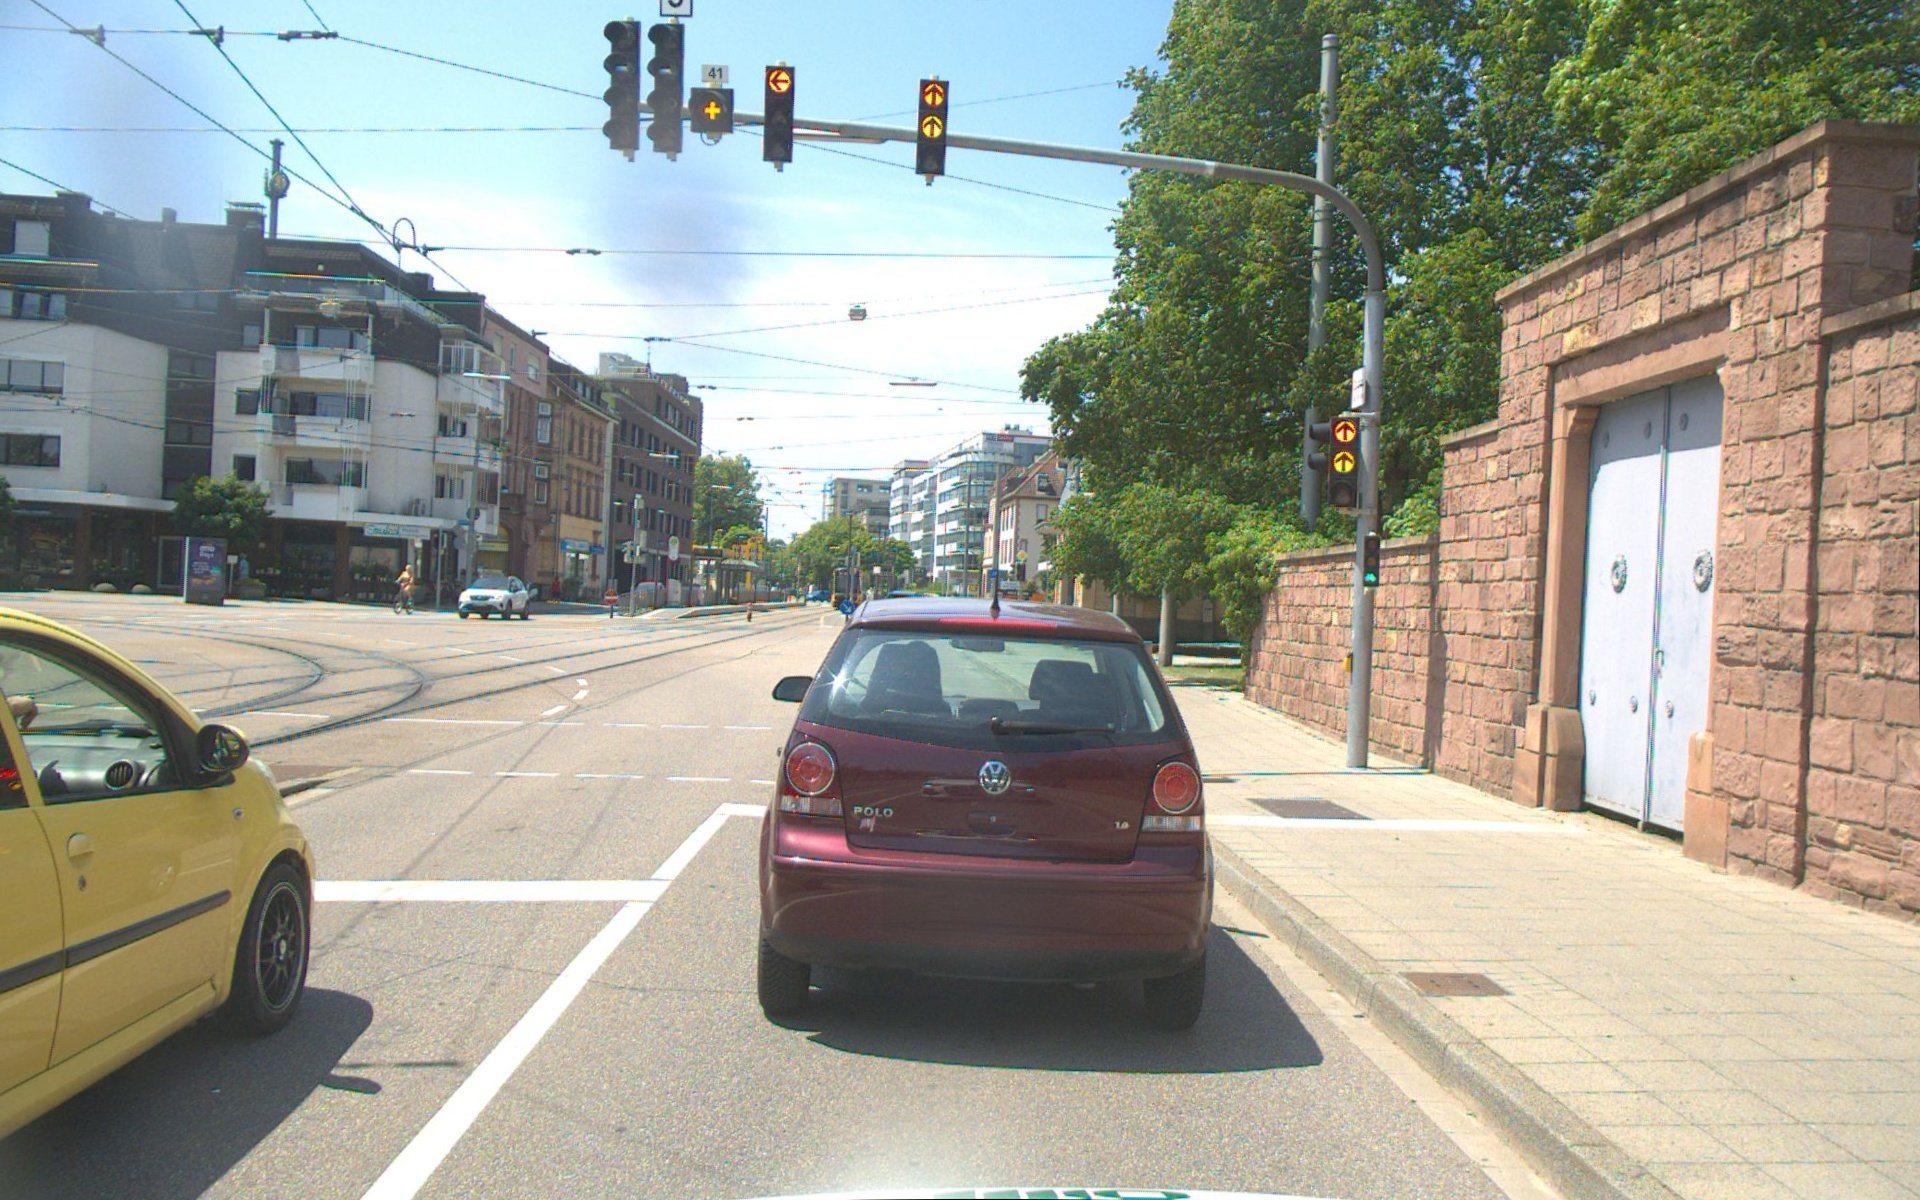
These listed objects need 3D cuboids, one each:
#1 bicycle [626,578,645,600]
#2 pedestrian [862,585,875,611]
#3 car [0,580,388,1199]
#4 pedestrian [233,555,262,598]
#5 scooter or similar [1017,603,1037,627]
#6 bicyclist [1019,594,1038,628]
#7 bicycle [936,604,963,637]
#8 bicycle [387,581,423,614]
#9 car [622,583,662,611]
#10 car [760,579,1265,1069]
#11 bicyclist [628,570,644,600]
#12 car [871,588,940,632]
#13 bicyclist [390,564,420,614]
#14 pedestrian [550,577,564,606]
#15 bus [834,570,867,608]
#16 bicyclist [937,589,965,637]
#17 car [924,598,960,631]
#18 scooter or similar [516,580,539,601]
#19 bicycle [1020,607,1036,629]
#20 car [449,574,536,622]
[{"bbox_3d":[-20.038,-0.687,102.137,0.663,1.327,2.105,3,1,0],"label":"bicycle"},{"bbox_3d":[-6.064,-0.150,109.337,0.747,1.704,1.100,2,0,-1],"label":"pedestrian"},{"bbox_3d":[-2.900,0.683,4.400,1.583,1.446,3.654,0,0,-2],"label":"car"},{"bbox_3d":[-29.403,-0.951,68.242,0.687,1.726,0.806,2,0,31],"label":"pedestrian"},{"bbox_3d":[3.407,0.755,84.256,0.335,1.198,1.456,2,0,-25],"label":"scooter or similar"},{"bbox_3d":[3.421,0.564,82.723,0.815,1.646,0.859,-2,-1,-1],"label":"bicyclist"},{"bbox_3d":[-0.398,0.768,62.923,0.367,1.218,1.906,2,0,19],"label":"bicycle"},{"bbox_3d":[-20.627,-0.097,61.484,0.680,1.169,1.931,2,1,-2],"label":"bicycle"},{"bbox_3d":[-18.045,-0.188,93.904,1.591,1.509,3.827,2,0,-2],"label":"car"},{"bbox_3d":[0.120,0.701,6.711,1.530,1.479,3.060,2,0,-2],"label":"car"},{"bbox_3d":[-20.021,-0.939,102.162,0.717,1.793,1.135,3,0,0],"label":"bicyclist"},{"bbox_3d":[-2.177,0.416,67.370,1.951,1.653,4.635,2,0,9],"label":"car"},{"bbox_3d":[-20.604,-0.408,61.397,0.680,1.796,1.137,2,1,-2],"label":"bicyclist"},{"bbox_3d":[-22.071,-0.472,90.595,0.602,1.588,0.640,2,0,-2],"label":"pedestrian"},{"bbox_3d":[-9.233,-0.920,139.799,2.101,3.055,6.574,2,0,1],"label":"bus"},{"bbox_3d":[-0.344,0.479,63.187,0.712,1.791,0.924,2,0,19],"label":"bicyclist"},{"bbox_3d":[-0.928,0.732,85.610,1.786,1.556,4.000,2,0,0],"label":"car"},{"bbox_3d":[-23.863,-0.512,91.268,0.477,1.101,1.578,2,0,15],"label":"scooter or similar"},{"bbox_3d":[3.409,0.883,82.675,0.655,1.020,1.863,-2,0,-1],"label":"bicycle"},{"bbox_3d":[-16.684,-0.082,59.224,1.953,1.580,4.138,2,0,-1],"label":"car"}]
